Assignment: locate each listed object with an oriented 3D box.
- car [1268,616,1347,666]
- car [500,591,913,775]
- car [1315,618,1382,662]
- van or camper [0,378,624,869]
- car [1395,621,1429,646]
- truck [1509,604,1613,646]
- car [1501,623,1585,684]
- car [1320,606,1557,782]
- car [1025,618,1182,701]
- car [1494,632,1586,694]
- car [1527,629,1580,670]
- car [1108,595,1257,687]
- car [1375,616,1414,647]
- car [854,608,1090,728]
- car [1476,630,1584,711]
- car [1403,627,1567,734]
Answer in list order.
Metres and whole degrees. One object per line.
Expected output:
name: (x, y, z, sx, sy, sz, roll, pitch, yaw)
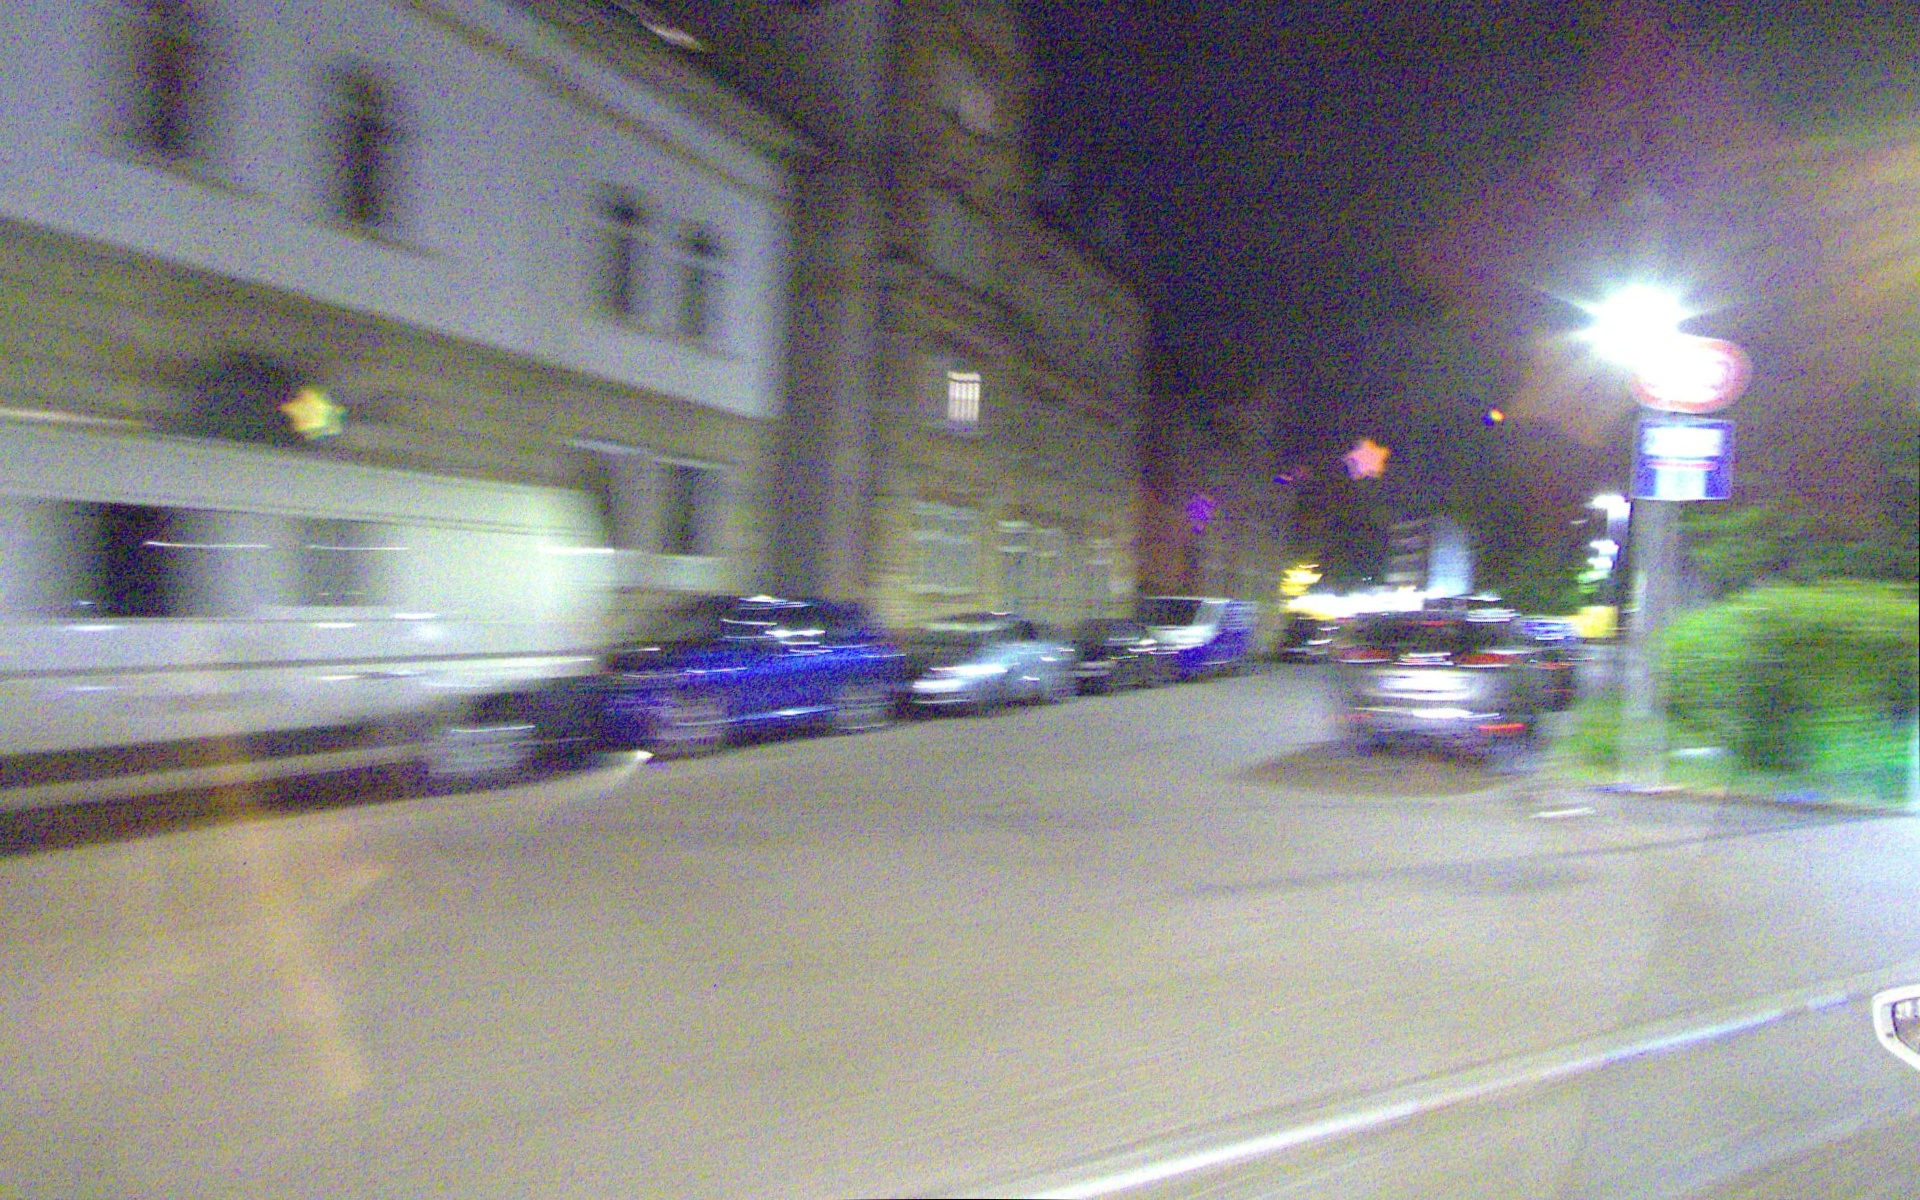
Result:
car: (12.040, 1.408, 34.663, 1.680, 1.530, 4.091, 3, 0, 32)
car: (-2.539, 0.781, 11.156, 1.865, 1.612, 4.363, 0, -1, 32)
car: (15.335, 1.565, 39.519, 1.653, 1.587, 4.095, 2, -1, 32)
van or camper: (-5.447, 0.159, 6.605, 2.128, 2.569, 6.212, -1, -2, 32)
car: (29.949, 2.237, 66.512, 1.584, 1.536, 3.800, 2, -1, 31)
truck: (46.227, 1.884, 77.451, 6.677, 2.882, 1.996, 3, 1, 30)
car: (18.069, 1.602, 31.011, 2.012, 1.717, 4.869, -1, -2, 33)
car: (5.658, 0.938, 11.580, 1.859, 1.624, 4.095, 0, -2, 34)
car: (2.955, 1.117, 19.947, 1.666, 1.417, 4.072, 2, -1, 30)
car: (15.259, 1.582, 26.329, 1.854, 1.433, 4.461, -1, -2, 33)
car: (23.850, 1.944, 40.330, 1.733, 1.464, 4.017, 1, -1, 32)
car: (5.527, 0.945, 24.459, 1.966, 1.981, 4.793, 2, 0, 32)
car: (26.647, 1.911, 61.567, 1.614, 1.783, 3.954, 2, -1, 32)
car: (0.398, 0.944, 15.626, 1.810, 1.527, 4.737, 1, -1, 26)
car: (11.626, 1.362, 20.380, 1.675, 1.410, 3.618, 2, -1, 33)
car: (8.472, 1.196, 16.038, 1.936, 1.401, 3.990, 2, -1, 33)
